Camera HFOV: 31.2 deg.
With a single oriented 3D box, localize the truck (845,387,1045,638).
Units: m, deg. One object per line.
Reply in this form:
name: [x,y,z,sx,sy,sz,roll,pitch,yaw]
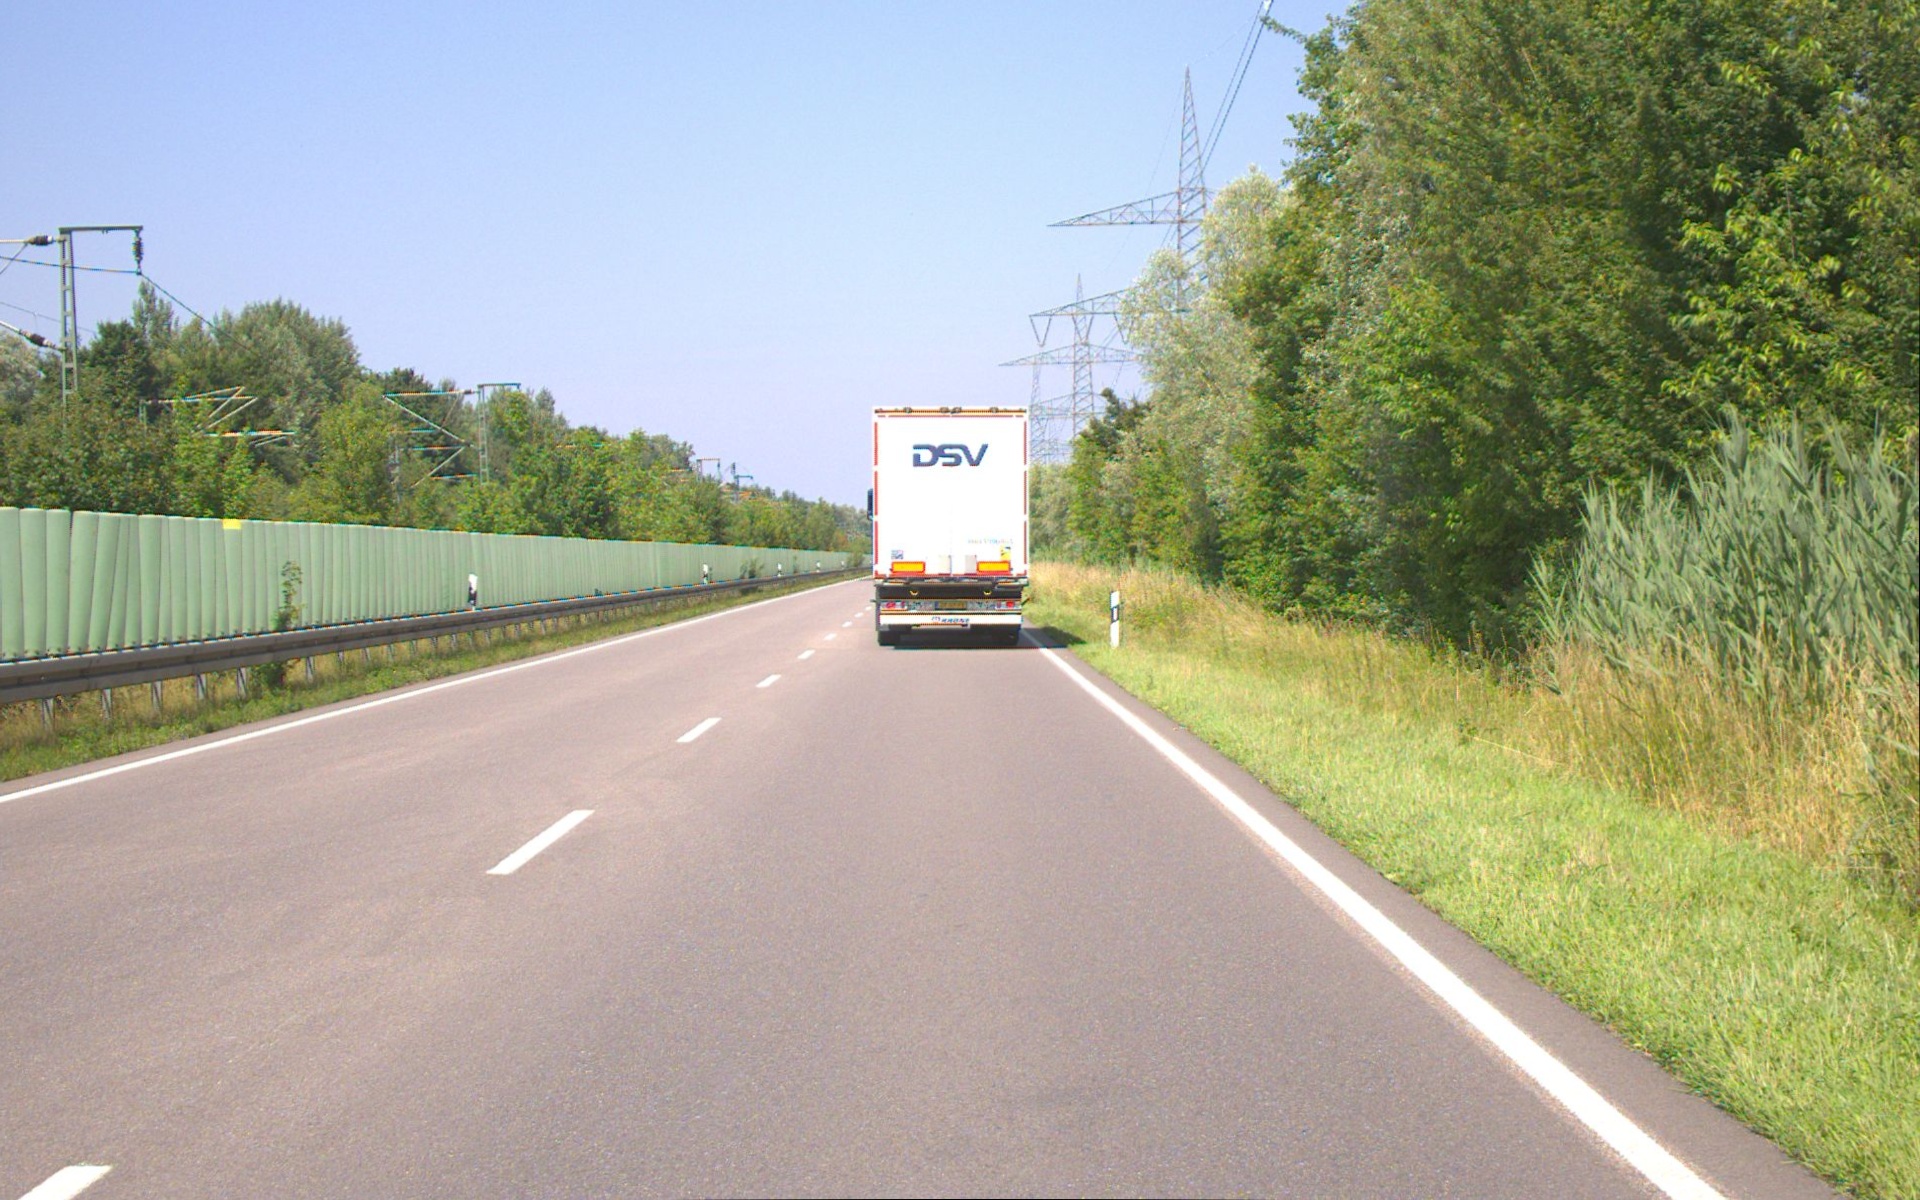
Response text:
truck: [-0.322,-1.503,61.723,3.192,4.029,12.007,-1,1,-1]
